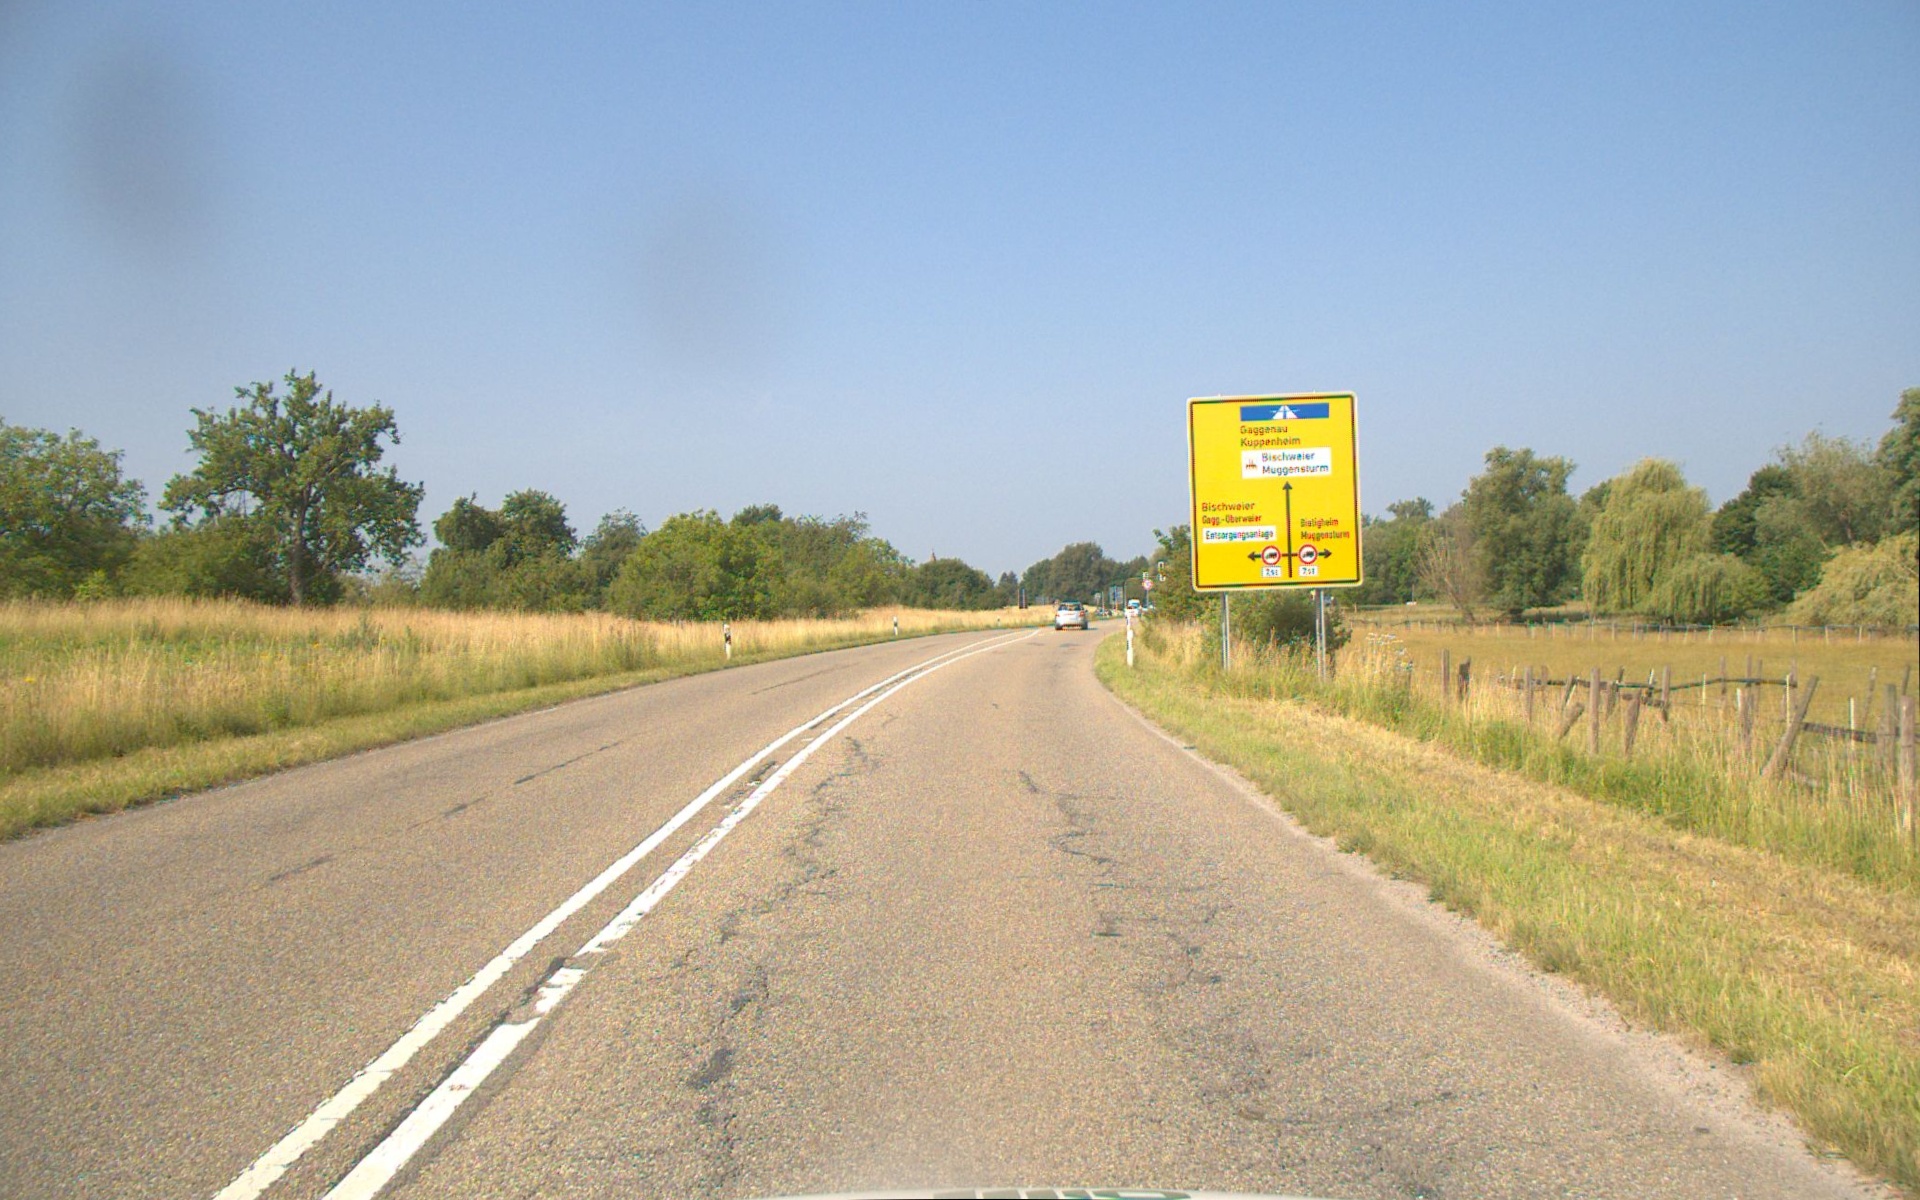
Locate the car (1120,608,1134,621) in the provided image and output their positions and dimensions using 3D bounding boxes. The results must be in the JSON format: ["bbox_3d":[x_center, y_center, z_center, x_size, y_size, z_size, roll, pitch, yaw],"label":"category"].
[{"bbox_3d":[21.061,1.859,208.512,1.774,1.613,4.227,1,0,6],"label":"car"}]

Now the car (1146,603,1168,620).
[{"bbox_3d":[19.053,1.122,159.691,1.777,1.547,4.003,-2,-1,10],"label":"car"}]

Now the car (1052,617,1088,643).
[{"bbox_3d":[6.616,1.780,99.211,1.858,1.538,4.003,0,0,8],"label":"car"}]
